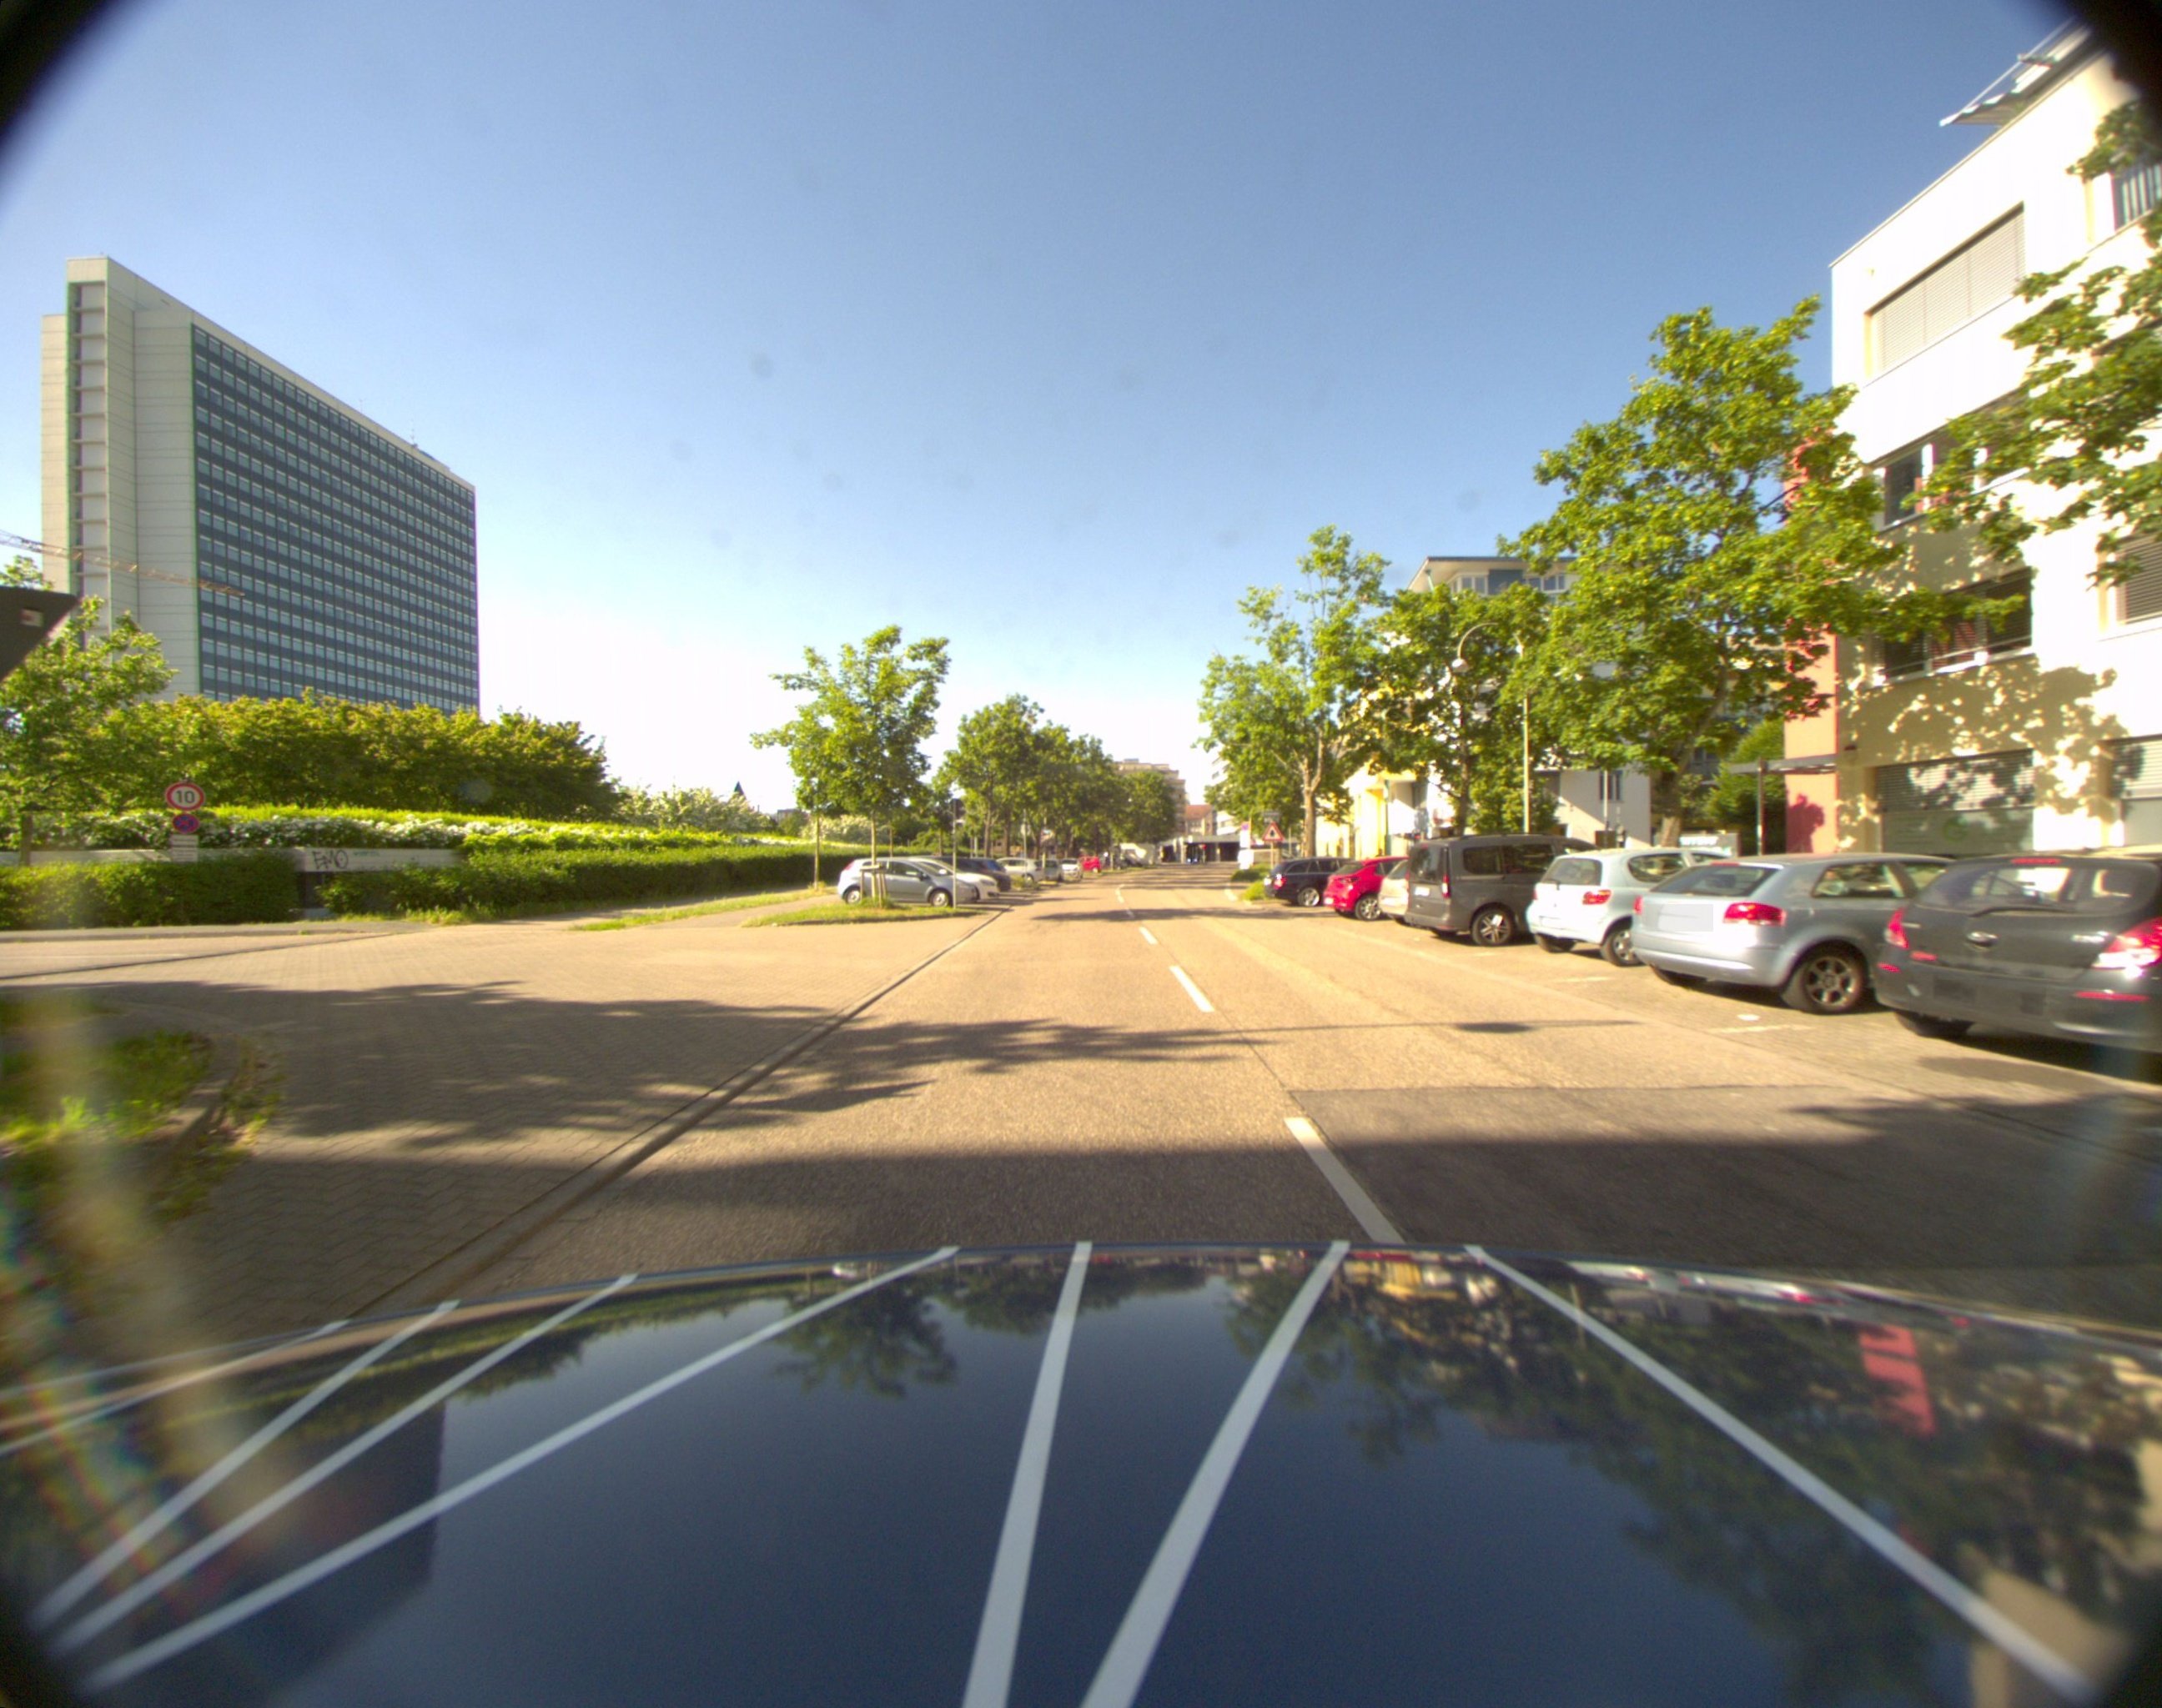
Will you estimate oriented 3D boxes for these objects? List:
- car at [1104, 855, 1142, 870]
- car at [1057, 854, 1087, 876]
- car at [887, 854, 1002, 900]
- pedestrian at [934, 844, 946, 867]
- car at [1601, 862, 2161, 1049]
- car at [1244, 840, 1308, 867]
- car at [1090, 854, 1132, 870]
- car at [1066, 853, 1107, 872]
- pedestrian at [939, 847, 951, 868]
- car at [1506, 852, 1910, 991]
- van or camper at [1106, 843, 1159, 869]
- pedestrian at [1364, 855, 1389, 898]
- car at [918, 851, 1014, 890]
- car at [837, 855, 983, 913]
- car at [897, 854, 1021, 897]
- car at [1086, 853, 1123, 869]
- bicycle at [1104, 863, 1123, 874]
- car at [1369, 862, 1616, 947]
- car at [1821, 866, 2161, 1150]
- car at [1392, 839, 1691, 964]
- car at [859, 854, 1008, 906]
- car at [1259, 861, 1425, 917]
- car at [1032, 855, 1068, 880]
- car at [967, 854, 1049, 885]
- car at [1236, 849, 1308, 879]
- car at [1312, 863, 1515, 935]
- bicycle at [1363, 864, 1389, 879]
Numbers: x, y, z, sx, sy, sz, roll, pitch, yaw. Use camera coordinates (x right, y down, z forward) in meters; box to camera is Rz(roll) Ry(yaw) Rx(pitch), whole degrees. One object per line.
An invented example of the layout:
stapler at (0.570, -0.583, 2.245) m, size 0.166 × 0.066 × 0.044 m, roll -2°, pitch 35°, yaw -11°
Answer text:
car at (4.998, 0.970, 90.021) m, size 4.155 × 1.537 × 1.860 m, roll 2°, pitch 1°, yaw 11°
car at (-0.611, 0.792, 57.196) m, size 1.646 × 1.485 × 3.768 m, roll 2°, pitch 0°, yaw 8°
car at (-4.976, 0.804, 28.015) m, size 3.885 × 1.506 × 1.751 m, roll 2°, pitch 1°, yaw 1°
pedestrian at (-9.326, 0.088, 50.351) m, size 0.608 × 1.533 × 0.937 m, roll 0°, pitch 1°, yaw 1°
car at (7.675, 0.886, 7.557) m, size 3.736 × 1.438 × 1.875 m, roll -2°, pitch 0°, yaw -3°
car at (18.644, -0.039, 72.591) m, size 5.507 × 2.422 × 2.184 m, roll -2°, pitch 0°, yaw -14°
car at (3.267, 0.854, 82.485) m, size 4.199 × 1.537 × 1.861 m, roll 2°, pitch 1°, yaw 14°
car at (0.507, 0.764, 70.434) m, size 3.438 × 1.535 × 1.629 m, roll 3°, pitch 1°, yaw 14°
pedestrian at (-10.246, 0.269, 57.328) m, size 0.725 × 1.578 × 0.853 m, roll 0°, pitch 1°, yaw 3°
car at (8.266, 0.837, 10.325) m, size 3.901 × 1.565 × 1.859 m, roll -2°, pitch 0°, yaw 1°
van or camper at (6.293, 0.206, 92.750) m, size 5.990 × 2.967 × 2.673 m, roll 2°, pitch 1°, yaw 12°
pedestrian at (11.913, 0.897, 30.638) m, size 0.658 × 1.716 × 1.022 m, roll 1°, pitch 1°, yaw 5°
car at (-4.969, 0.709, 33.277) m, size 3.814 × 1.440 × 1.745 m, roll 3°, pitch 1°, yaw 3°
car at (-5.058, 0.865, 22.821) m, size 3.957 × 1.506 × 1.701 m, roll 2°, pitch 1°, yaw 2°
car at (-4.821, 0.817, 30.545) m, size 4.560 × 1.506 × 2.158 m, roll 2°, pitch 1°, yaw 1°
car at (2.479, 0.711, 79.821) m, size 3.466 × 1.471 × 1.861 m, roll 2°, pitch 1°, yaw 14°
bicycle at (3.155, 1.397, 72.935) m, size 1.752 × 0.985 × 0.531 m, roll 1°, pitch 1°, yaw 25°
car at (7.988, 0.954, 15.015) m, size 3.901 × 1.415 × 1.739 m, roll -2°, pitch 0°, yaw 1°
car at (7.821, 0.857, 5.215) m, size 3.736 × 1.438 × 1.859 m, roll -2°, pitch 0°, yaw -3°
car at (7.571, 0.744, 12.785) m, size 3.901 × 1.800 × 1.786 m, roll -2°, pitch 0°, yaw 1°
car at (-4.879, 0.843, 25.635) m, size 4.560 × 1.506 × 1.982 m, roll 2°, pitch 1°, yaw 1°
car at (7.579, 1.002, 22.365) m, size 4.272 × 1.415 × 1.740 m, roll -2°, pitch 0°, yaw 4°
car at (-1.930, 0.818, 48.997) m, size 1.813 × 1.485 × 4.625 m, roll 2°, pitch 0°, yaw 4°
car at (-3.909, 0.802, 40.930) m, size 4.096 × 1.421 × 1.643 m, roll 3°, pitch 1°, yaw 7°
car at (13.757, 0.695, 54.756) m, size 4.776 × 1.973 × 1.997 m, roll -1°, pitch -1°, yaw -23°
car at (7.573, 1.002, 17.570) m, size 3.901 × 1.415 × 1.739 m, roll -2°, pitch 0°, yaw 1°
bicycle at (22.269, 1.299, 57.378) m, size 1.800 × 1.091 × 0.702 m, roll 1°, pitch 1°, yaw 14°
